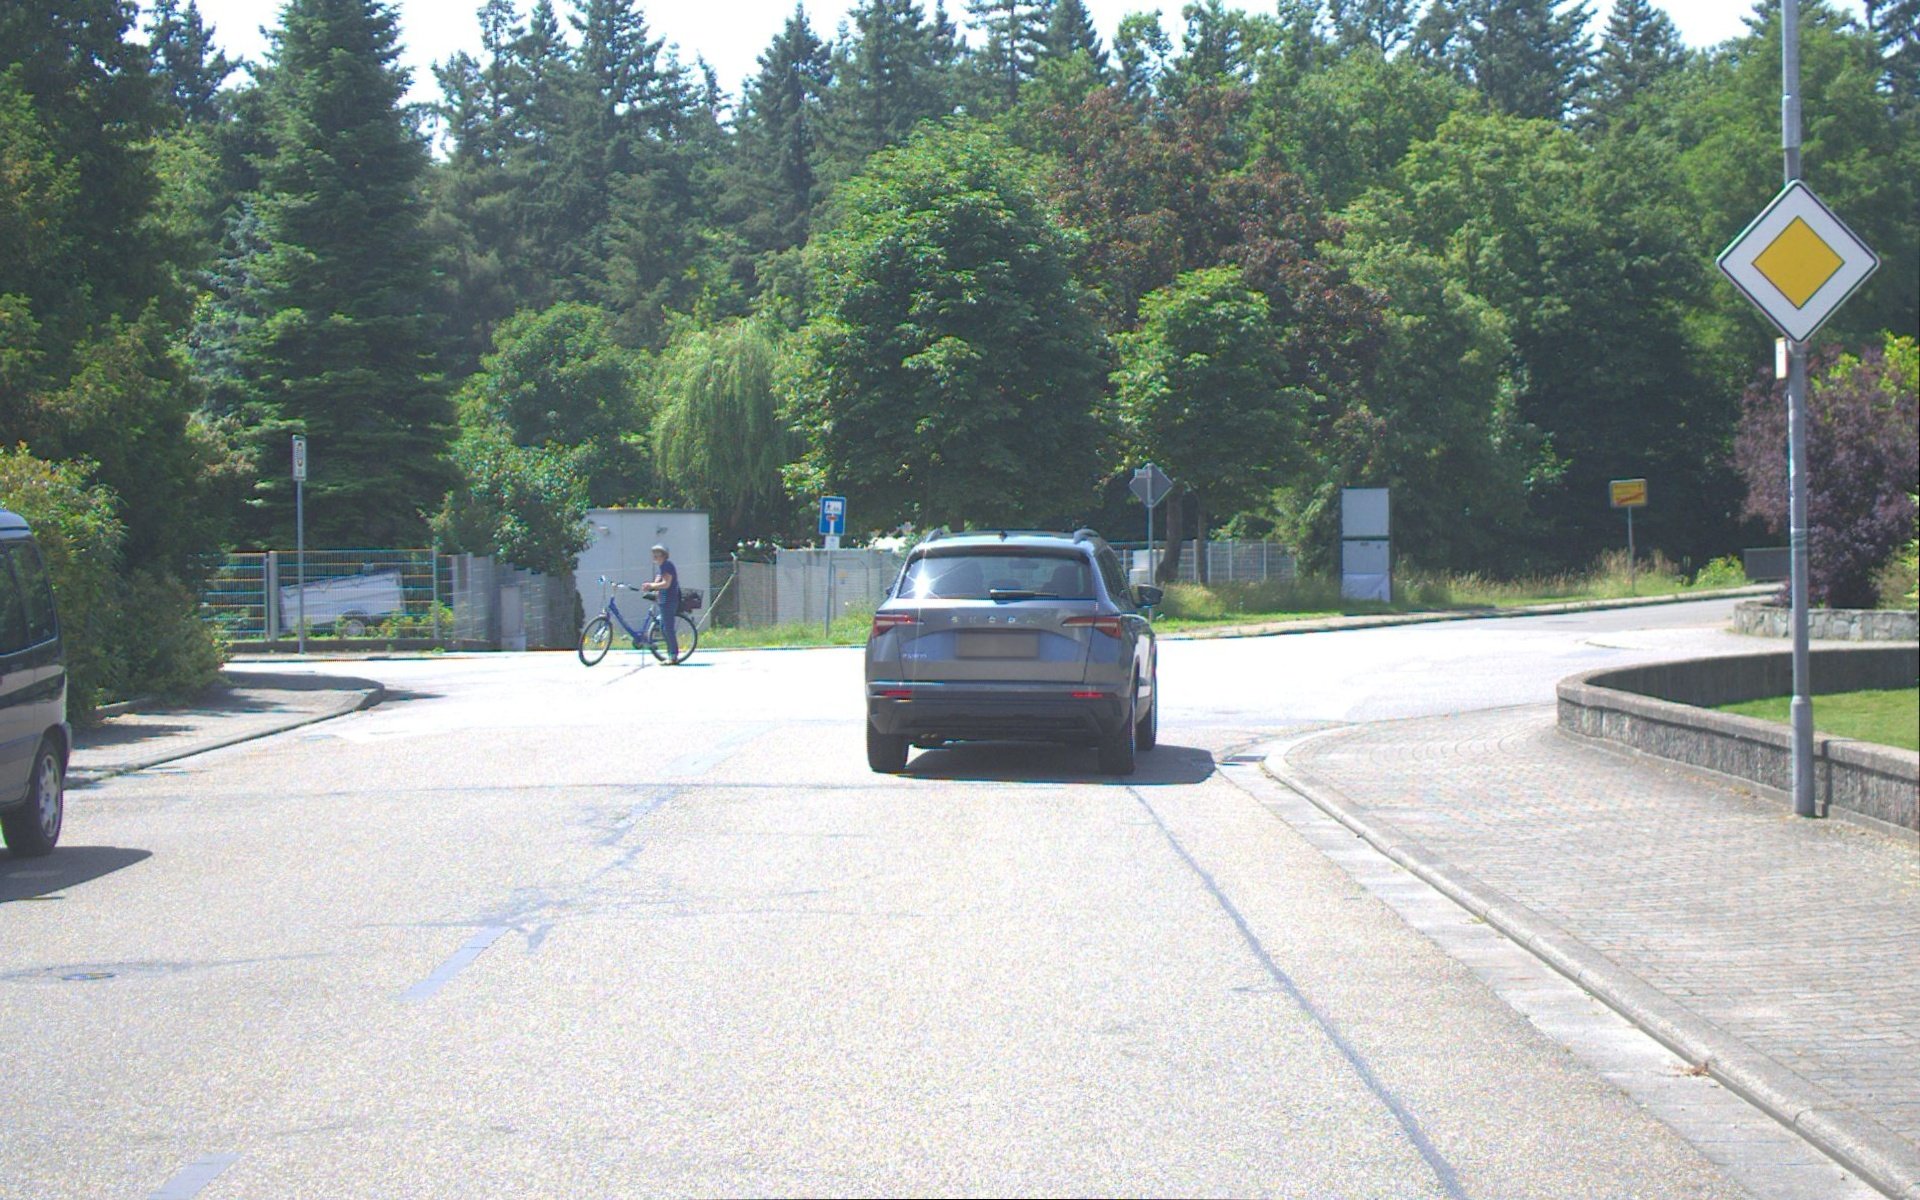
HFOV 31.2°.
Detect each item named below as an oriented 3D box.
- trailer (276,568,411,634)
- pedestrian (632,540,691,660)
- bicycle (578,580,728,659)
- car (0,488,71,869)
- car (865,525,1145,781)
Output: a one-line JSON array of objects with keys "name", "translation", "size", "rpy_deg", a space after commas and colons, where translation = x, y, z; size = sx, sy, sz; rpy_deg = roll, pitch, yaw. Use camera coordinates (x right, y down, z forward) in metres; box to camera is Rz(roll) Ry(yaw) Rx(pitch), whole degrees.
[{"name": "trailer", "translation": [-10.526, 0.010, 58.759], "size": [2.214, 1.080, 1.106], "rpy_deg": [-1, 1, -7]}, {"name": "pedestrian", "translation": [-3.783, -0.006, 43.557], "size": [0.610, 1.495, 0.504], "rpy_deg": [-1, 1, -21]}, {"name": "bicycle", "translation": [-3.920, 0.241, 43.973], "size": [1.842, 0.960, 0.443], "rpy_deg": [-1, 1, -19]}, {"name": "car", "translation": [-5.488, 0.399, 15.959], "size": [1.718, 1.839, 4.055], "rpy_deg": [-1, 1, -1]}, {"name": "car", "translation": [0.248, 0.304, 23.882], "size": [1.762, 1.612, 4.000], "rpy_deg": [1, 1, -1]}]
